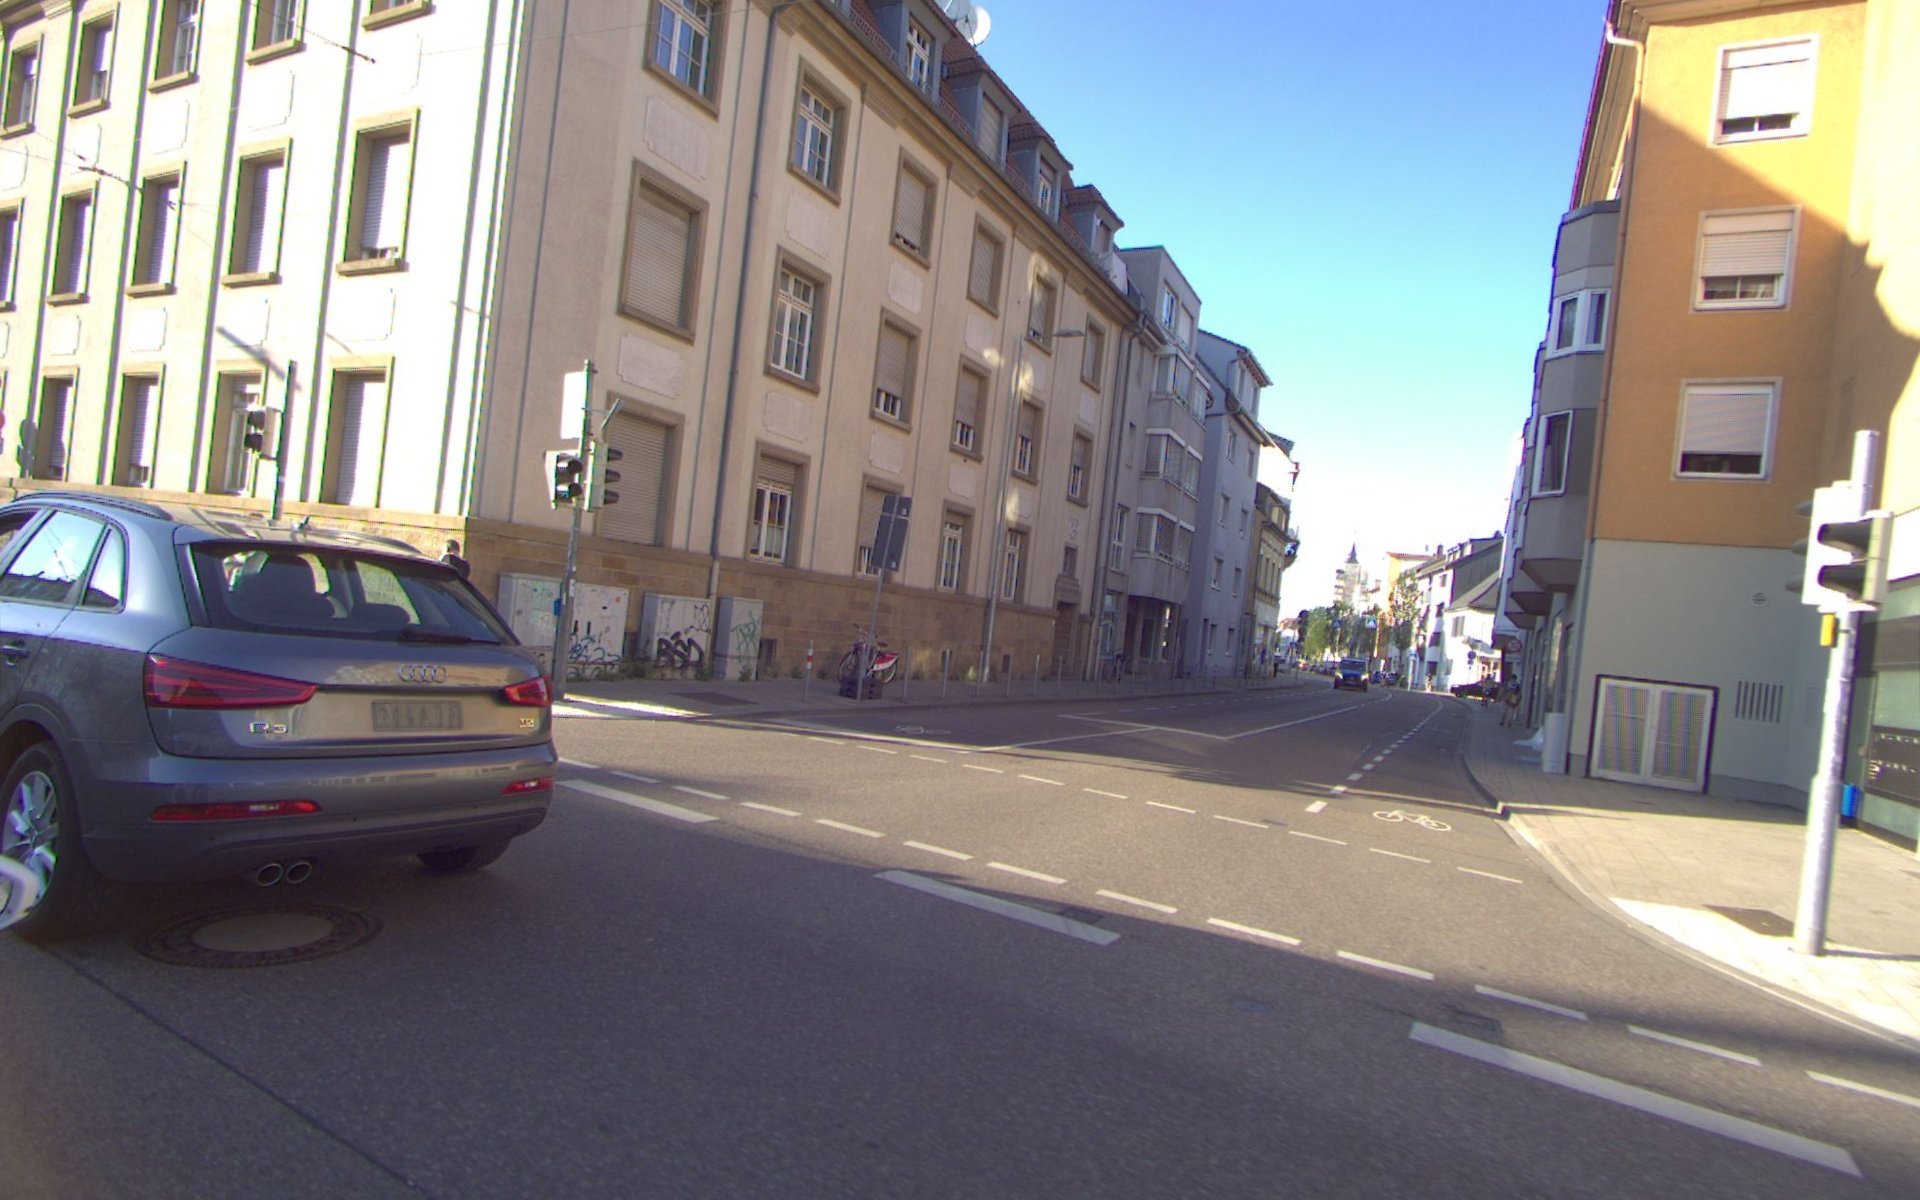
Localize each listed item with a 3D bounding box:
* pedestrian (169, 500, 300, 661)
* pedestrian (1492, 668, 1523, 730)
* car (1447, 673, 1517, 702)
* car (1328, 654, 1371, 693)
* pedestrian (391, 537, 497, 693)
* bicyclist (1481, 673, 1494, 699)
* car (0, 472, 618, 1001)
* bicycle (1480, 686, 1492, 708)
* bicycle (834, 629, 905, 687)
[{"bbox_3d":[-8.647,-0.217,12.004,0.810,1.783,0.837,5,-1,29],"label":"pedestrian"},{"bbox_3d":[18.254,3.300,33.536,0.709,1.977,0.685,6,0,30],"label":"pedestrian"},{"bbox_3d":[40.616,6.810,78.421,4.480,1.675,2.001,6,-2,22],"label":"car"},{"bbox_3d":[23.754,4.468,61.264,1.965,2.025,4.483,5,-1,26],"label":"car"},{"bbox_3d":[-6.266,0.189,12.236,0.811,1.778,0.630,5,-1,29],"label":"pedestrian"},{"bbox_3d":[27.906,4.565,53.251,0.478,1.310,0.499,6,-1,27],"label":"bicyclist"},{"bbox_3d":[-3.851,0.339,4.779,4.153,1.570,1.702,6,-3,28],"label":"car"},{"bbox_3d":[27.784,5.131,53.131,0.478,1.089,1.312,6,-1,27],"label":"bicycle"},{"bbox_3d":[-1.783,1.166,20.026,0.246,1.029,1.500,5,-2,45],"label":"bicycle"}]
